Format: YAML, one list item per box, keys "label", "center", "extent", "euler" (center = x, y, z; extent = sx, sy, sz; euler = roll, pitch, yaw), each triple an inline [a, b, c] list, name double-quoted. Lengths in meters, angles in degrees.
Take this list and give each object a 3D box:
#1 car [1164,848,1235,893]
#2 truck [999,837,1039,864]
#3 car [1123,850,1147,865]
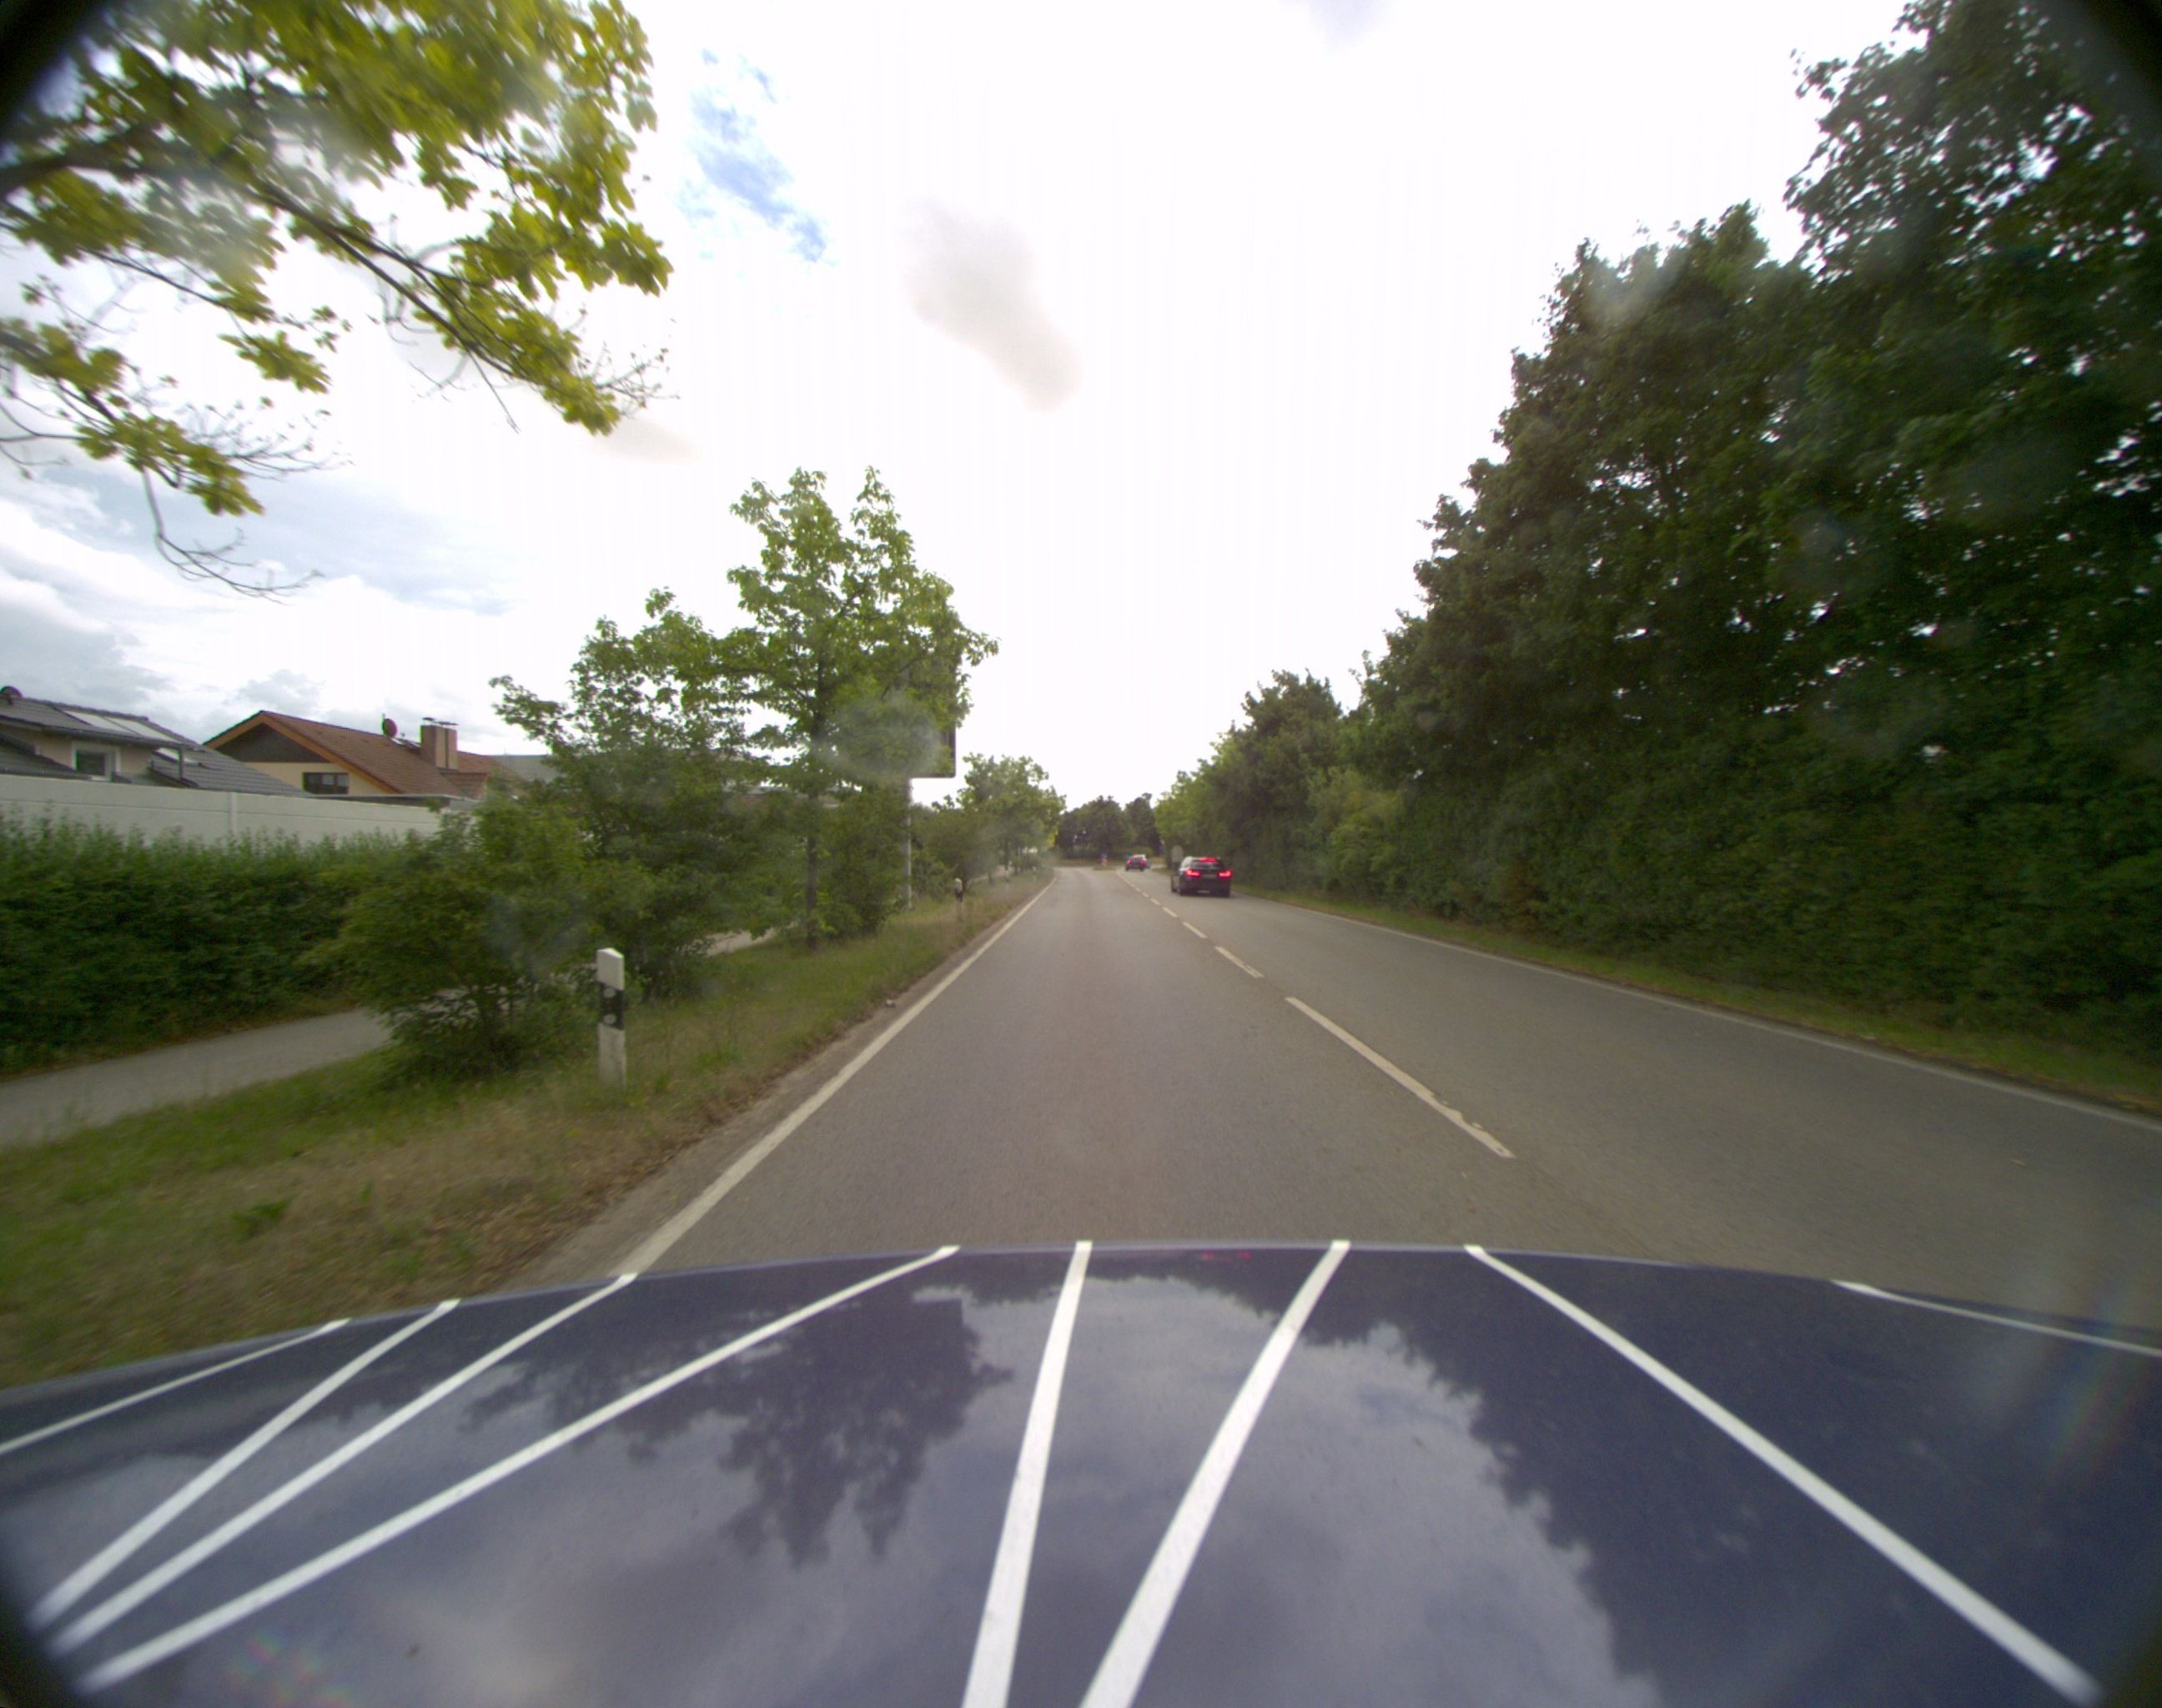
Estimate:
- label: "car"
  center: [4.517, 0.565, 29.711]
  extent: [1.945, 1.577, 4.554]
  euler: [1, 1, -1]
- label: "truck"
  center: [-8.451, -0.381, 102.875]
  extent: [2.620, 3.428, 7.490]
  euler: [-2, 0, -27]
- label: "car"
  center: [5.411, 0.359, 77.128]
  extent: [1.999, 1.411, 4.476]
  euler: [1, 1, -1]
